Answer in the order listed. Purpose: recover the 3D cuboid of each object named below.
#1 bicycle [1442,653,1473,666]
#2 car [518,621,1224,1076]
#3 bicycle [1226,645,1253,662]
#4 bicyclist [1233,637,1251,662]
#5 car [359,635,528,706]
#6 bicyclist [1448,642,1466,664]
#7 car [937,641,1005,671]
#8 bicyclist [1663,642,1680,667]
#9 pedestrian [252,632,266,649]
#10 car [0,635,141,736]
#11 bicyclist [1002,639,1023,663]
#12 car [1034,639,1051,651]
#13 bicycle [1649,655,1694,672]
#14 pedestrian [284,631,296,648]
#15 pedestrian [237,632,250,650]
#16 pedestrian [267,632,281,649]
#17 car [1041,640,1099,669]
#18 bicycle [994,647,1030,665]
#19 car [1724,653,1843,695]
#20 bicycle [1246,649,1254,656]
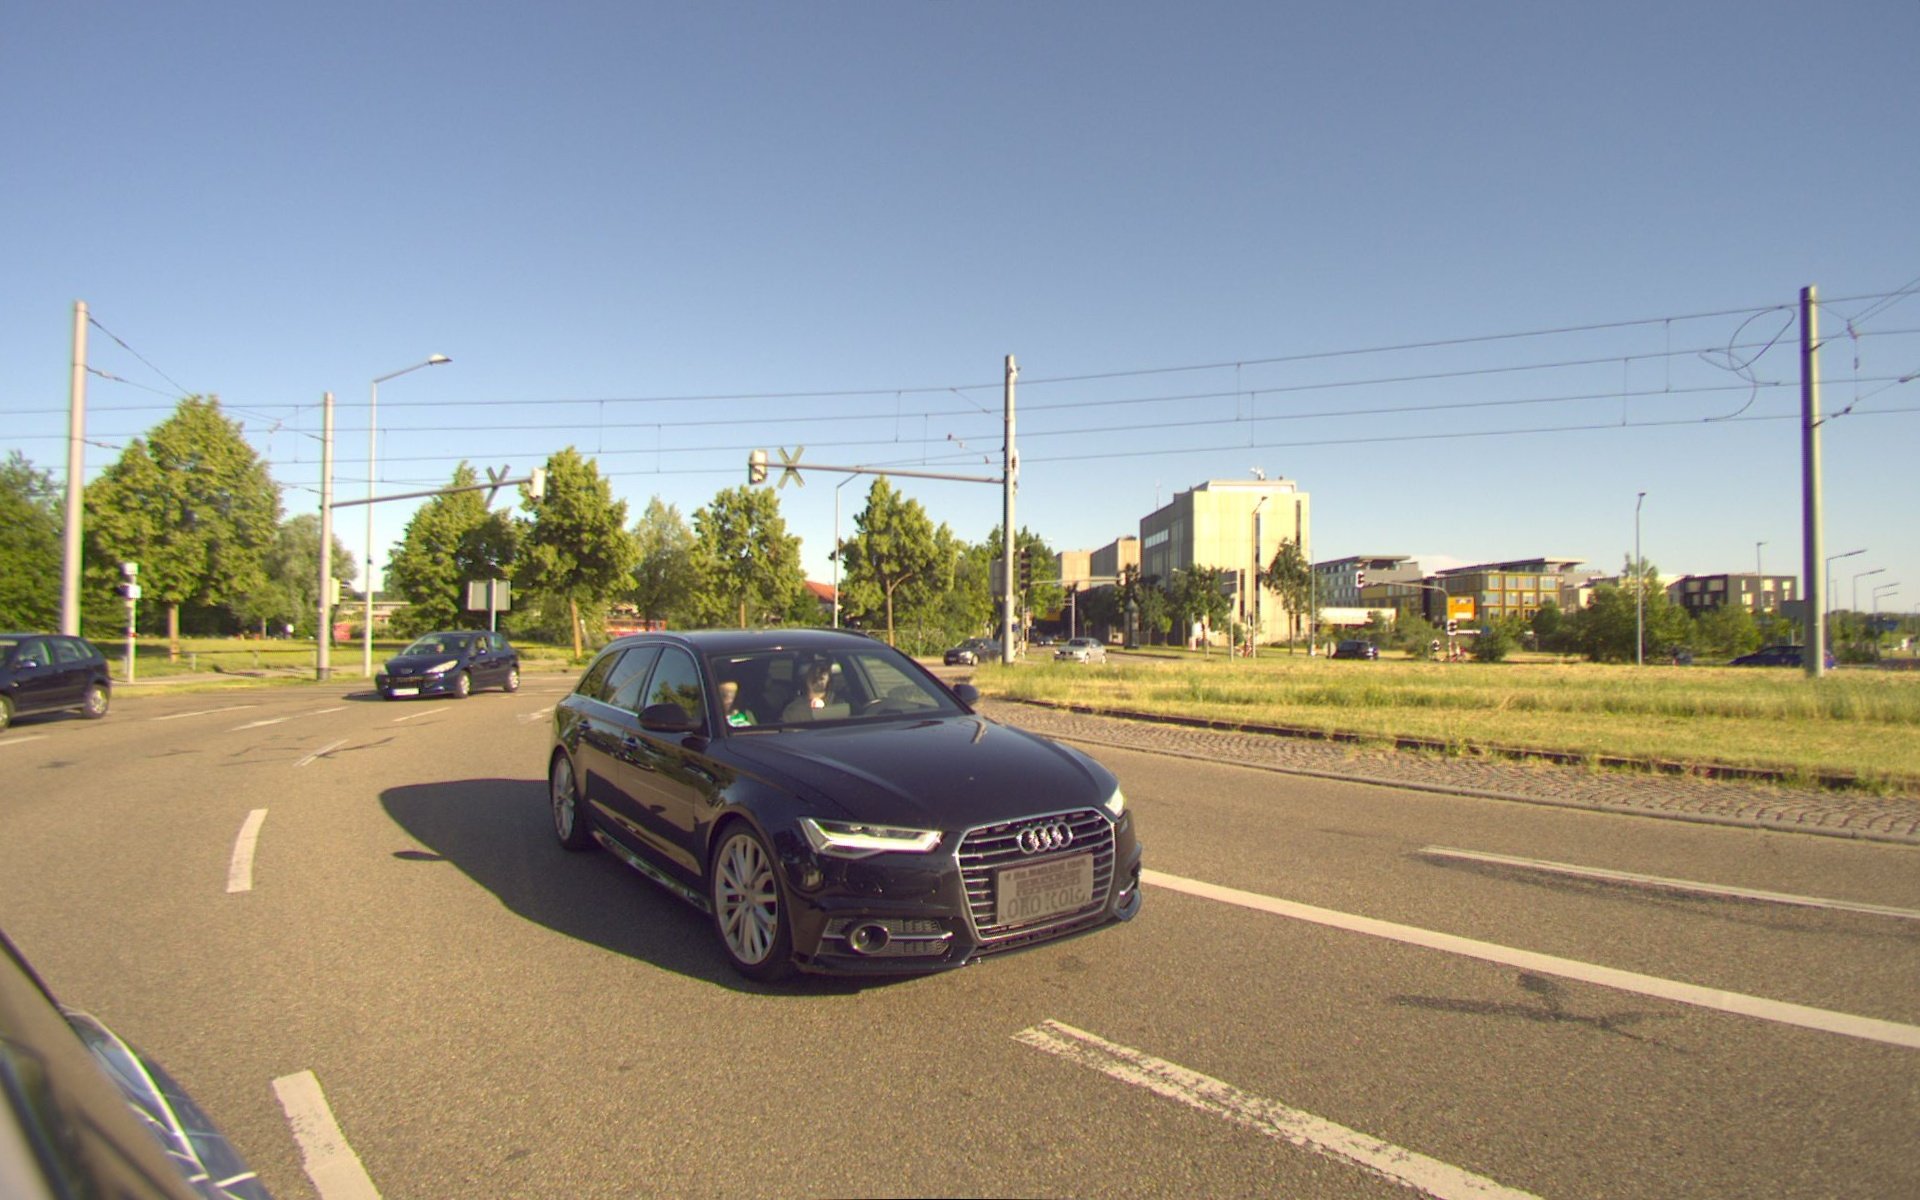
[{"bbox_3d":[34.605,4.153,70.398,1.865,0.859,0.616,0,-3,5],"label":"bicycle"},{"bbox_3d":[-1.057,0.880,5.845,1.768,1.454,5.029,1,-2,-35],"label":"car"},{"bbox_3d":[19.366,3.716,70.096,1.628,1.137,0.706,0,-1,-11],"label":"bicycle"},{"bbox_3d":[19.556,3.445,70.150,0.927,1.676,0.706,0,-1,-11],"label":"bicyclist"},{"bbox_3d":[-11.577,1.544,23.016,1.734,1.465,3.997,-1,-2,2],"label":"car"},{"bbox_3d":[34.555,3.686,70.420,0.914,1.529,0.616,0,-3,5],"label":"bicyclist"},{"bbox_3d":[0.606,2.895,52.910,1.719,1.390,4.025,-2,-1,31],"label":"car"},{"bbox_3d":[44.847,3.418,63.777,0.834,1.592,0.654,-2,-3,39],"label":"bicyclist"},{"bbox_3d":[-59.223,3.425,85.493,0.675,1.451,0.797,1,-3,-18],"label":"pedestrian"},{"bbox_3d":[-15.175,1.301,15.924,1.611,1.479,4.556,0,-2,-12],"label":"car"},{"bbox_3d":[3.484,3.375,67.288,1.069,1.573,0.879,2,-2,-24],"label":"bicyclist"},{"bbox_3d":[11.463,6.253,140.532,1.929,1.627,3.919,0,-2,-2],"label":"car"},{"bbox_3d":[44.852,4.010,63.782,2.260,0.995,0.654,-2,-3,39],"label":"bicycle"},{"bbox_3d":[-57.149,3.386,86.319,0.650,1.451,0.797,1,-3,-18],"label":"pedestrian"},{"bbox_3d":[-60.403,3.452,85.303,0.675,1.451,0.797,1,-3,-18],"label":"pedestrian"},{"bbox_3d":[-58.401,3.415,86.140,0.761,1.451,0.797,1,-3,-18],"label":"pedestrian"},{"bbox_3d":[6.029,2.932,54.922,1.924,1.390,4.503,-2,-1,22],"label":"car"},{"bbox_3d":[3.459,3.707,67.264,2.178,1.164,0.879,2,-2,-24],"label":"bicycle"},{"bbox_3d":[38.012,3.370,46.784,1.746,1.799,3.927,2,-3,-36],"label":"car"},{"bbox_3d":[34.671,6.305,121.019,0.485,0.859,1.887,0,-3,2],"label":"bicycle"}]
